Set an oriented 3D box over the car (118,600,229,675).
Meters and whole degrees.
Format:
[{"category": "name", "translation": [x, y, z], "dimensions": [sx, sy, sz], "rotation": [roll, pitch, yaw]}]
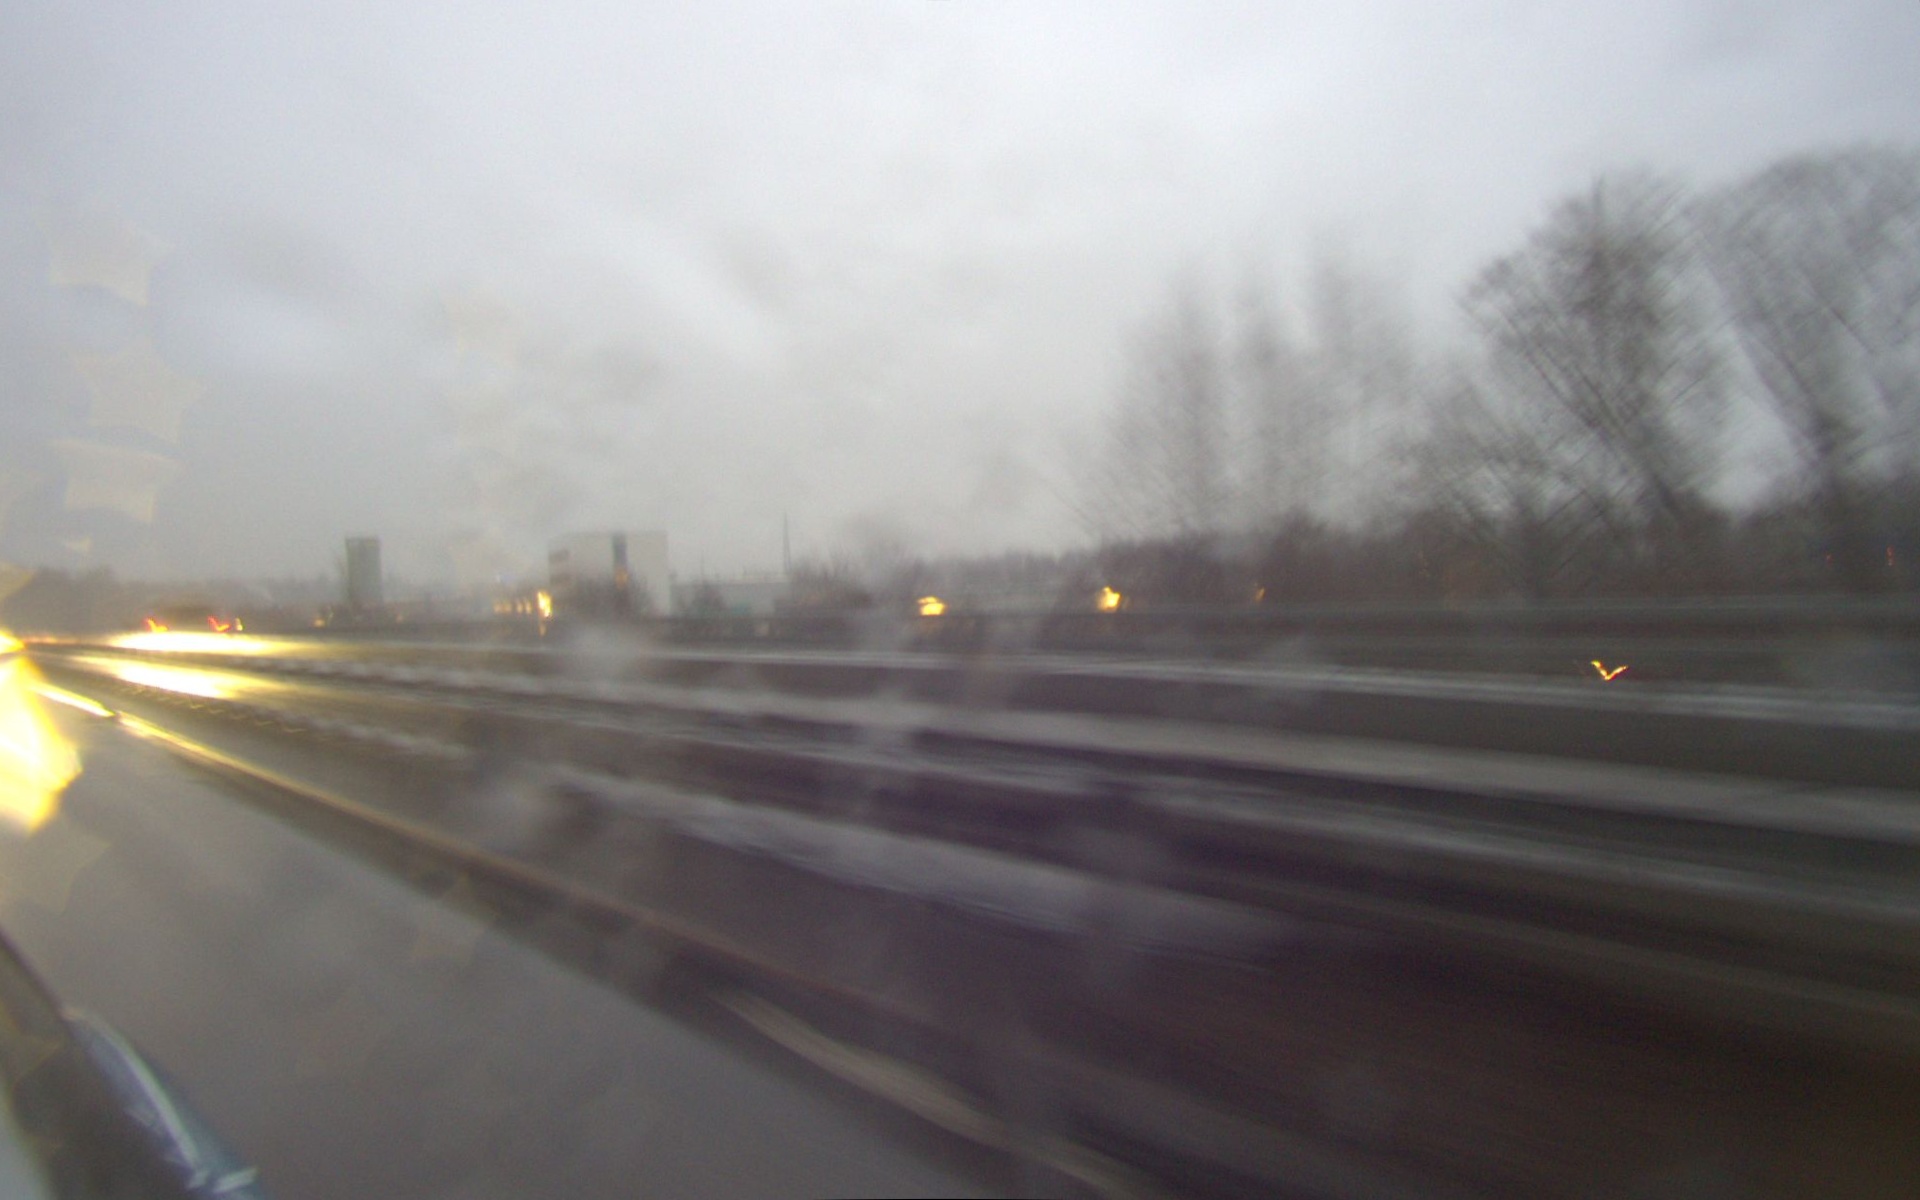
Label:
[{"category": "car", "translation": [-26.108, 1.169, 33.534], "dimensions": [5.206, 2.280, 2.028], "rotation": [-1, 0, 42]}]
